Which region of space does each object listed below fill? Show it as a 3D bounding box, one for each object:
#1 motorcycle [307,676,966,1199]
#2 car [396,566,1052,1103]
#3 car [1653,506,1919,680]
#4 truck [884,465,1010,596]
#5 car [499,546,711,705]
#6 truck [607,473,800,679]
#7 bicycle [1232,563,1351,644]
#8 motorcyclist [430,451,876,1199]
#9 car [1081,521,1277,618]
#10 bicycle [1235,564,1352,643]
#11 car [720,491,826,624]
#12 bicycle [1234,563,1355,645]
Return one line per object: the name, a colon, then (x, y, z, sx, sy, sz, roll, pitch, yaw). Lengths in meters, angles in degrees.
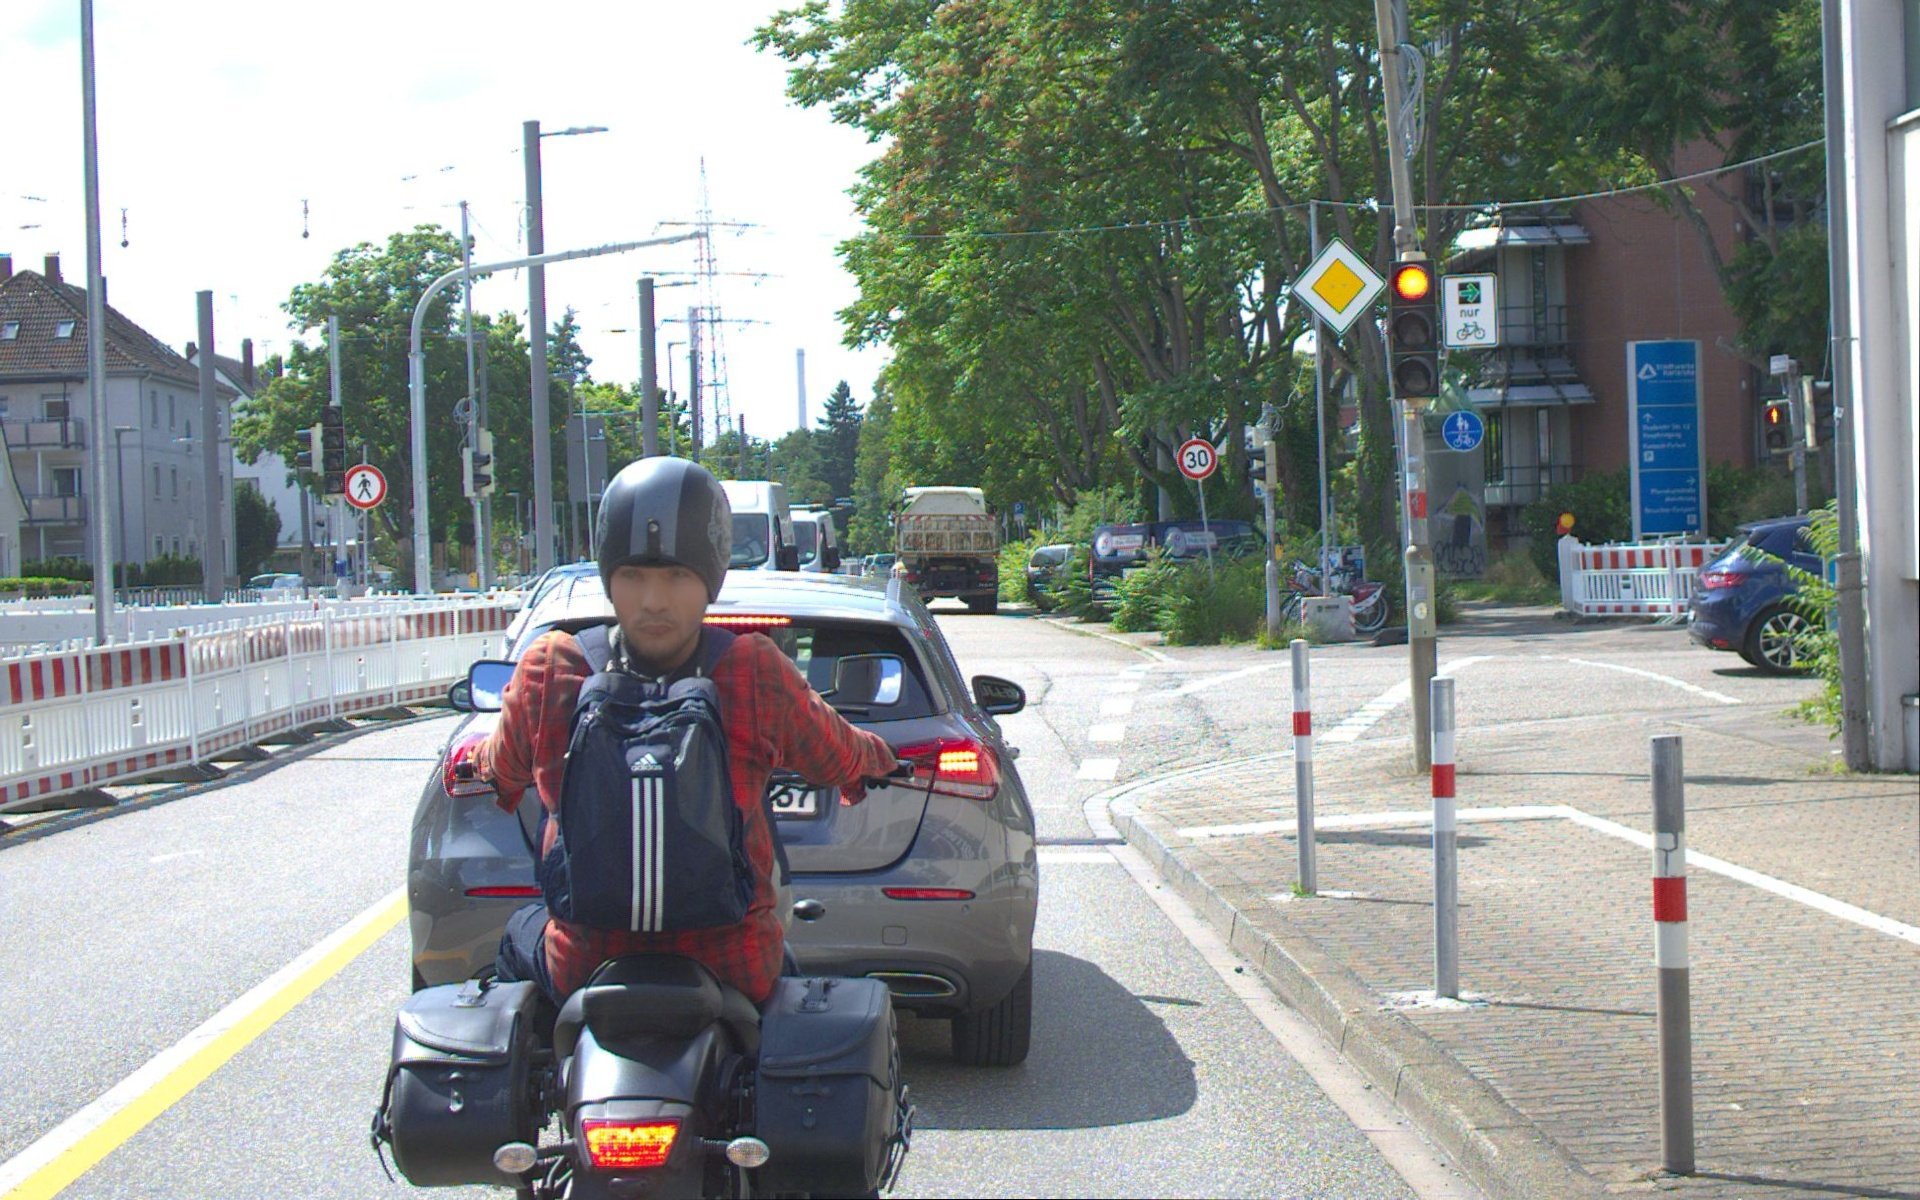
motorcycle: (-0.495, 0.786, 6.180, 0.942, 1.196, 2.473, 0, 1, -1)
car: (-0.829, 0.610, 11.199, 1.731, 1.399, 4.087, 1, 1, -6)
car: (8.528, -0.100, 30.988, 4.255, 1.493, 1.650, -1, 1, 3)
truck: (-0.257, -1.692, 87.062, 2.967, 3.162, 7.764, 0, 0, 1)
car: (-3.507, 0.232, 34.577, 1.744, 1.432, 4.084, -2, 0, -1)
truck: (-3.323, -0.394, 45.574, 2.093, 2.468, 5.196, -3, 2, 0)
bicycle: (4.824, 0.054, 50.066, 1.708, 1.168, 0.438, 0, 0, 4)
motorcyclist: (-0.493, 0.564, 5.771, 0.698, 1.599, 0.692, 0, 0, -1)
car: (4.475, -0.610, 69.868, 1.802, 1.919, 3.990, 0, 0, 44)
bicycle: (4.931, 0.051, 50.813, 1.708, 1.168, 0.438, 0, 0, 4)
car: (-3.076, -0.694, 57.156, 1.589, 2.135, 3.627, 0, 0, 0)
bicycle: (4.809, 0.056, 49.468, 1.708, 1.168, 0.438, 0, 0, 4)
